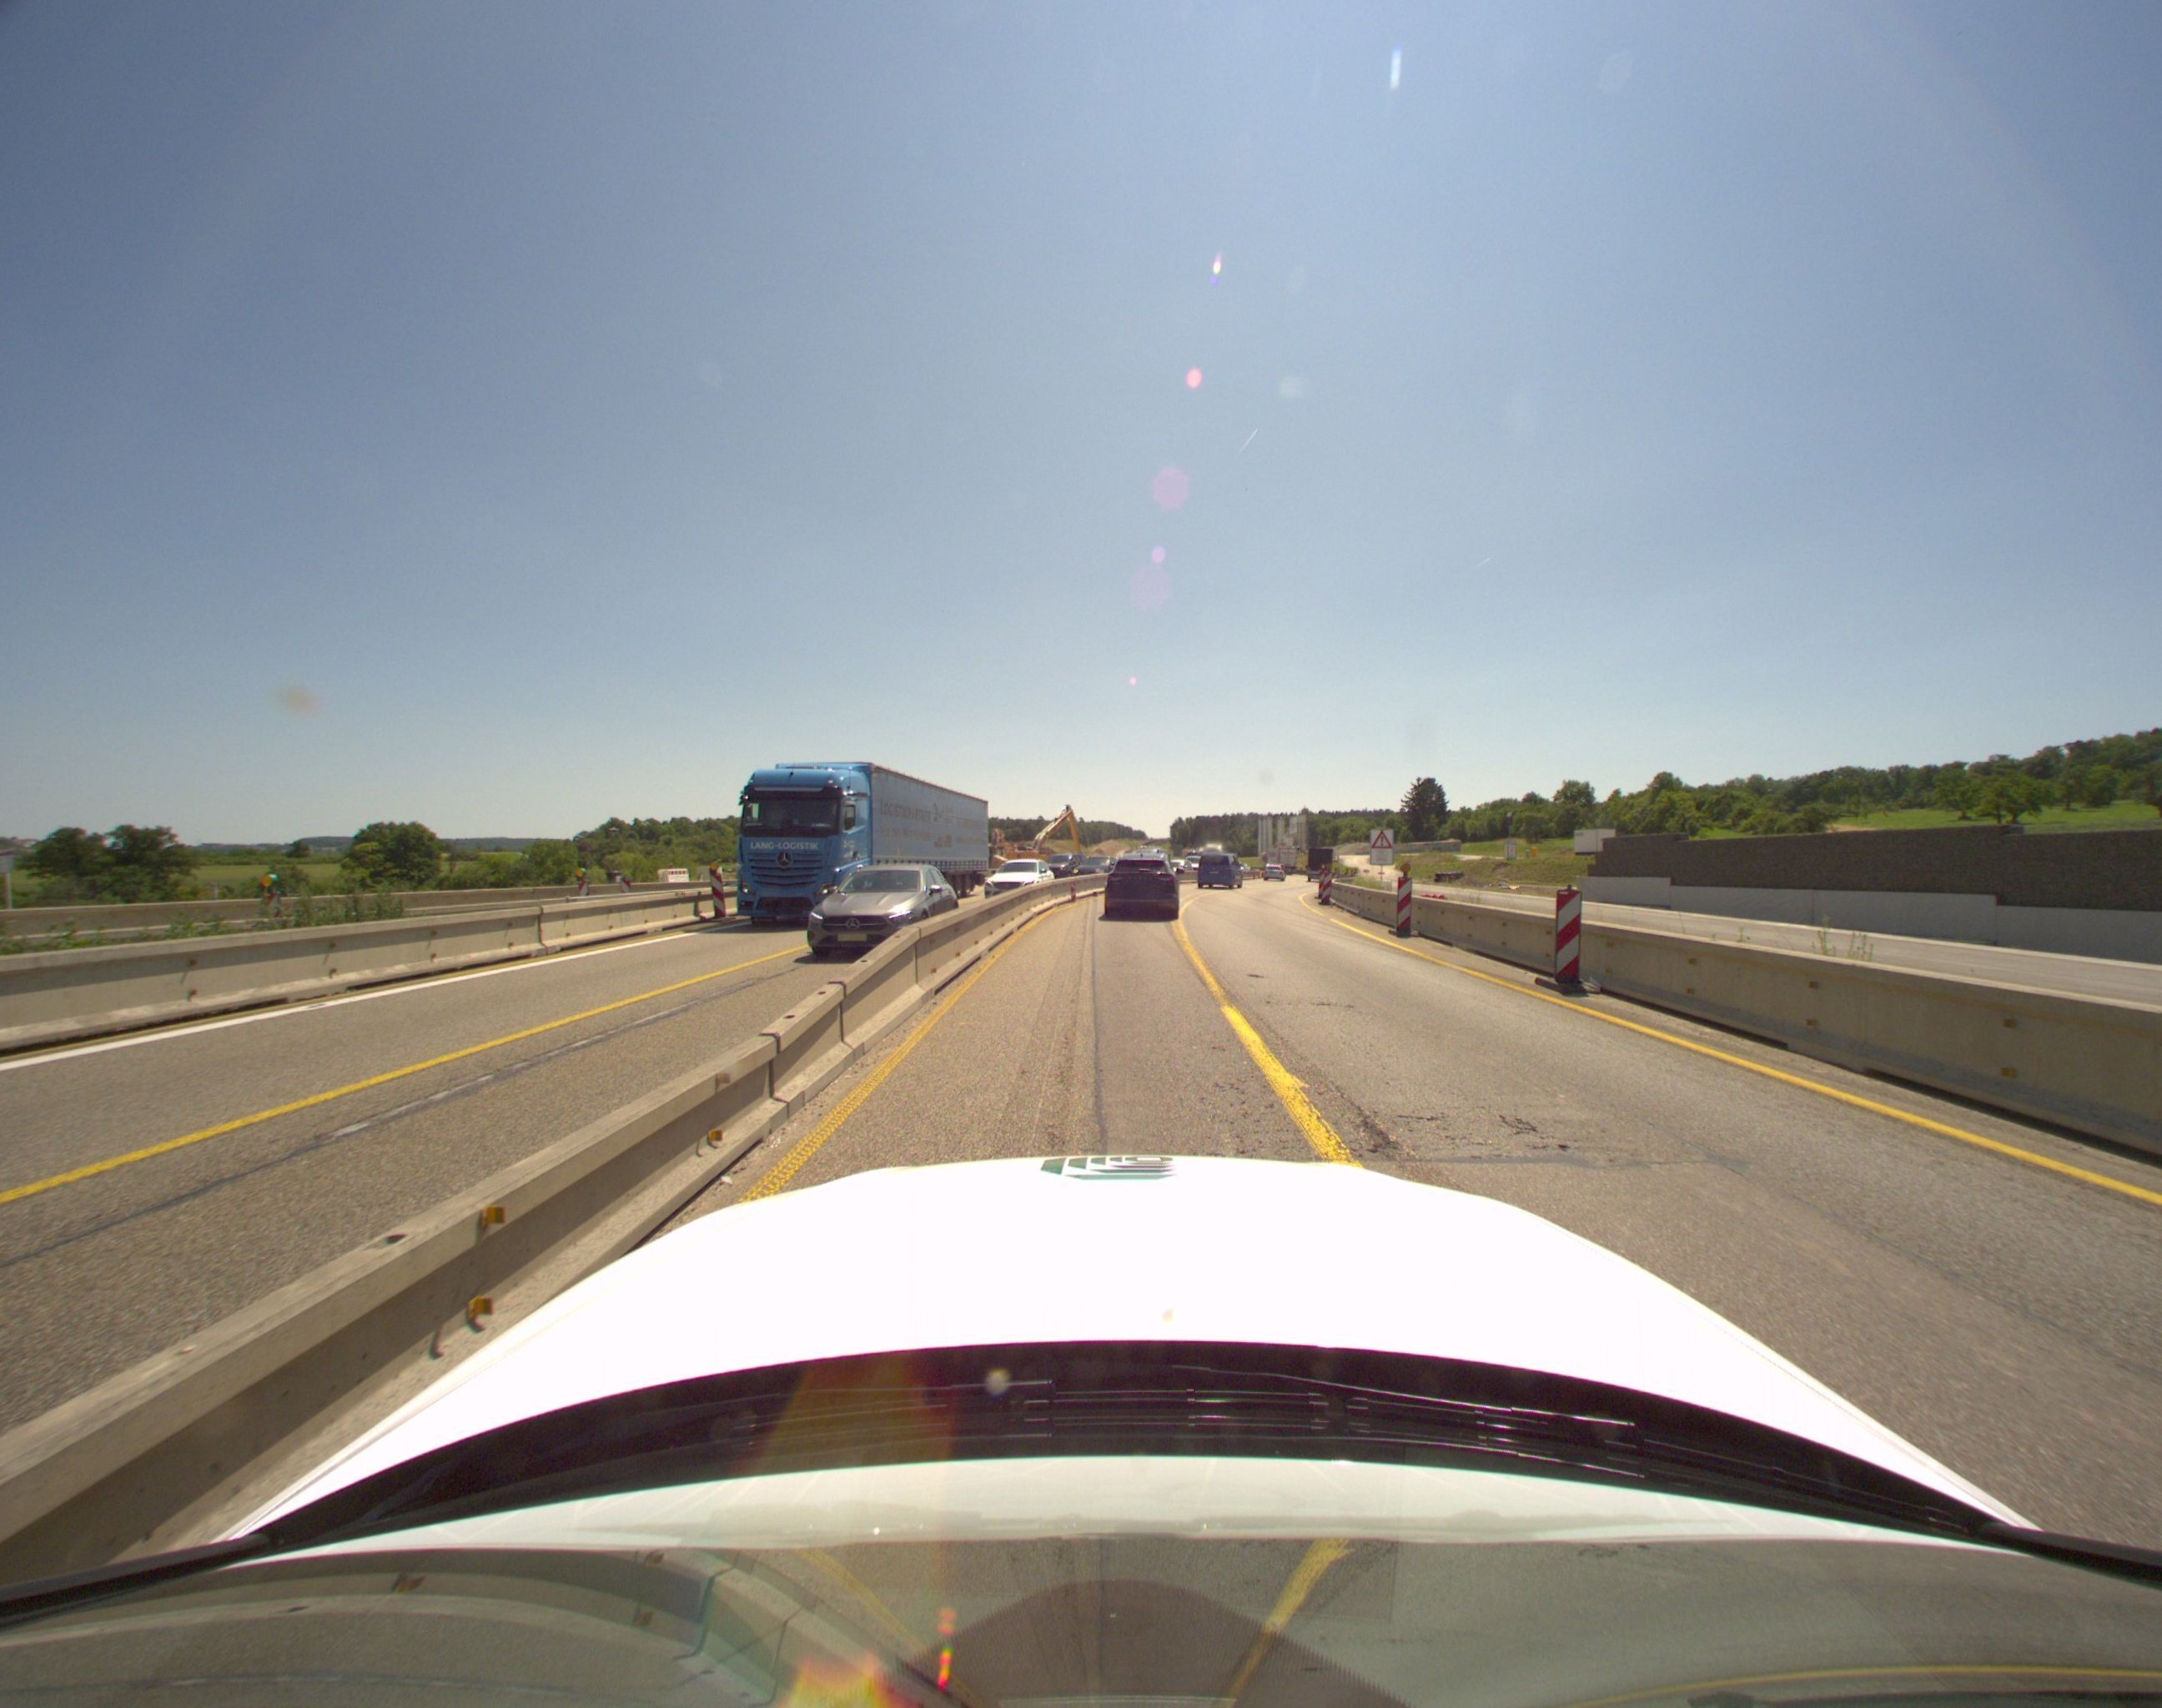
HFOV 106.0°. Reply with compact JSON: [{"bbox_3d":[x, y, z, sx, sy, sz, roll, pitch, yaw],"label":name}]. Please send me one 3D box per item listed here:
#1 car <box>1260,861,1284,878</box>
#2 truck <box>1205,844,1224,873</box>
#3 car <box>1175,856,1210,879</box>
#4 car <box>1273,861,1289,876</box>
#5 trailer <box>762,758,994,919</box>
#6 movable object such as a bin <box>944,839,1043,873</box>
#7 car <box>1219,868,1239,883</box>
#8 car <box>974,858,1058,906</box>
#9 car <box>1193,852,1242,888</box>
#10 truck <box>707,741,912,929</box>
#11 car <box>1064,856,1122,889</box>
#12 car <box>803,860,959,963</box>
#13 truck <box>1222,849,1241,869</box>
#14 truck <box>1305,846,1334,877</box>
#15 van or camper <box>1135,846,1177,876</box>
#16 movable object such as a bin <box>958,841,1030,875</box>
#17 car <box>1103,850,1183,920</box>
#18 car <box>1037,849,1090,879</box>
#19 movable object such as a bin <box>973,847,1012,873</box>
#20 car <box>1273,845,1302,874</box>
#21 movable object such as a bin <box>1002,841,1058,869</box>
[{"bbox_3d":[17.798,1.419,75.634,2.030,1.526,5.086,0,0,15],"label":"car"},{"bbox_3d":[20.245,0.681,123.730,2.755,4.260,6.213,1,0,8],"label":"truck"},{"bbox_3d":[9.574,1.161,69.348,1.857,1.873,5.083,2,-1,20],"label":"car"},{"bbox_3d":[24.458,1.754,99.742,1.809,1.644,3.878,1,0,12],"label":"car"},{"bbox_3d":[-6.052,-0.442,28.142,2.899,4.128,13.943,-1,0,7],"label":"trailer"},{"bbox_3d":[-7.445,0.146,68.866,7.829,2.432,3.741,3,0,39],"label":"movable object such as a bin"},{"bbox_3d":[15.570,2.267,85.493,1.713,1.408,4.146,2,0,16],"label":"car"},{"bbox_3d":[-2.211,0.927,29.064,2.005,1.444,4.599,-1,1,8],"label":"car"},{"bbox_3d":[7.478,0.832,44.309,1.978,1.844,4.019,1,0,18],"label":"car"},{"bbox_3d":[-6.698,-0.434,21.223,2.902,4.128,6.144,-1,0,3],"label":"truck"},{"bbox_3d":[0.690,0.953,42.706,1.754,1.607,4.731,-1,-1,17],"label":"car"},{"bbox_3d":[-3.283,0.880,14.185,1.583,1.441,4.126,-2,0,1],"label":"car"},{"bbox_3d":[35.617,1.187,193.216,3.458,4.220,10.395,5,1,6],"label":"truck"},{"bbox_3d":[23.432,0.721,80.143,2.653,2.946,5.643,0,-1,15],"label":"truck"},{"bbox_3d":[6.623,0.613,71.462,2.081,2.541,6.336,-1,-1,20],"label":"van or camper"},{"bbox_3d":[-8.112,0.352,75.577,5.994,2.763,2.828,3,0,29],"label":"movable object such as a bin"},{"bbox_3d":[1.528,0.727,21.120,1.835,1.581,4.002,1,1,2],"label":"car"},{"bbox_3d":[-1.049,0.626,51.306,1.760,1.765,4.733,-1,-1,20],"label":"car"},{"bbox_3d":[-11.053,0.724,102.177,3.642,3.025,5.006,-1,1,9],"label":"movable object such as a bin"},{"bbox_3d":[31.761,0.793,125.619,3.416,4.100,9.221,4,0,10],"label":"car"},{"bbox_3d":[-4.843,0.145,78.982,3.264,2.440,5.468,4,1,21],"label":"movable object such as a bin"}]
